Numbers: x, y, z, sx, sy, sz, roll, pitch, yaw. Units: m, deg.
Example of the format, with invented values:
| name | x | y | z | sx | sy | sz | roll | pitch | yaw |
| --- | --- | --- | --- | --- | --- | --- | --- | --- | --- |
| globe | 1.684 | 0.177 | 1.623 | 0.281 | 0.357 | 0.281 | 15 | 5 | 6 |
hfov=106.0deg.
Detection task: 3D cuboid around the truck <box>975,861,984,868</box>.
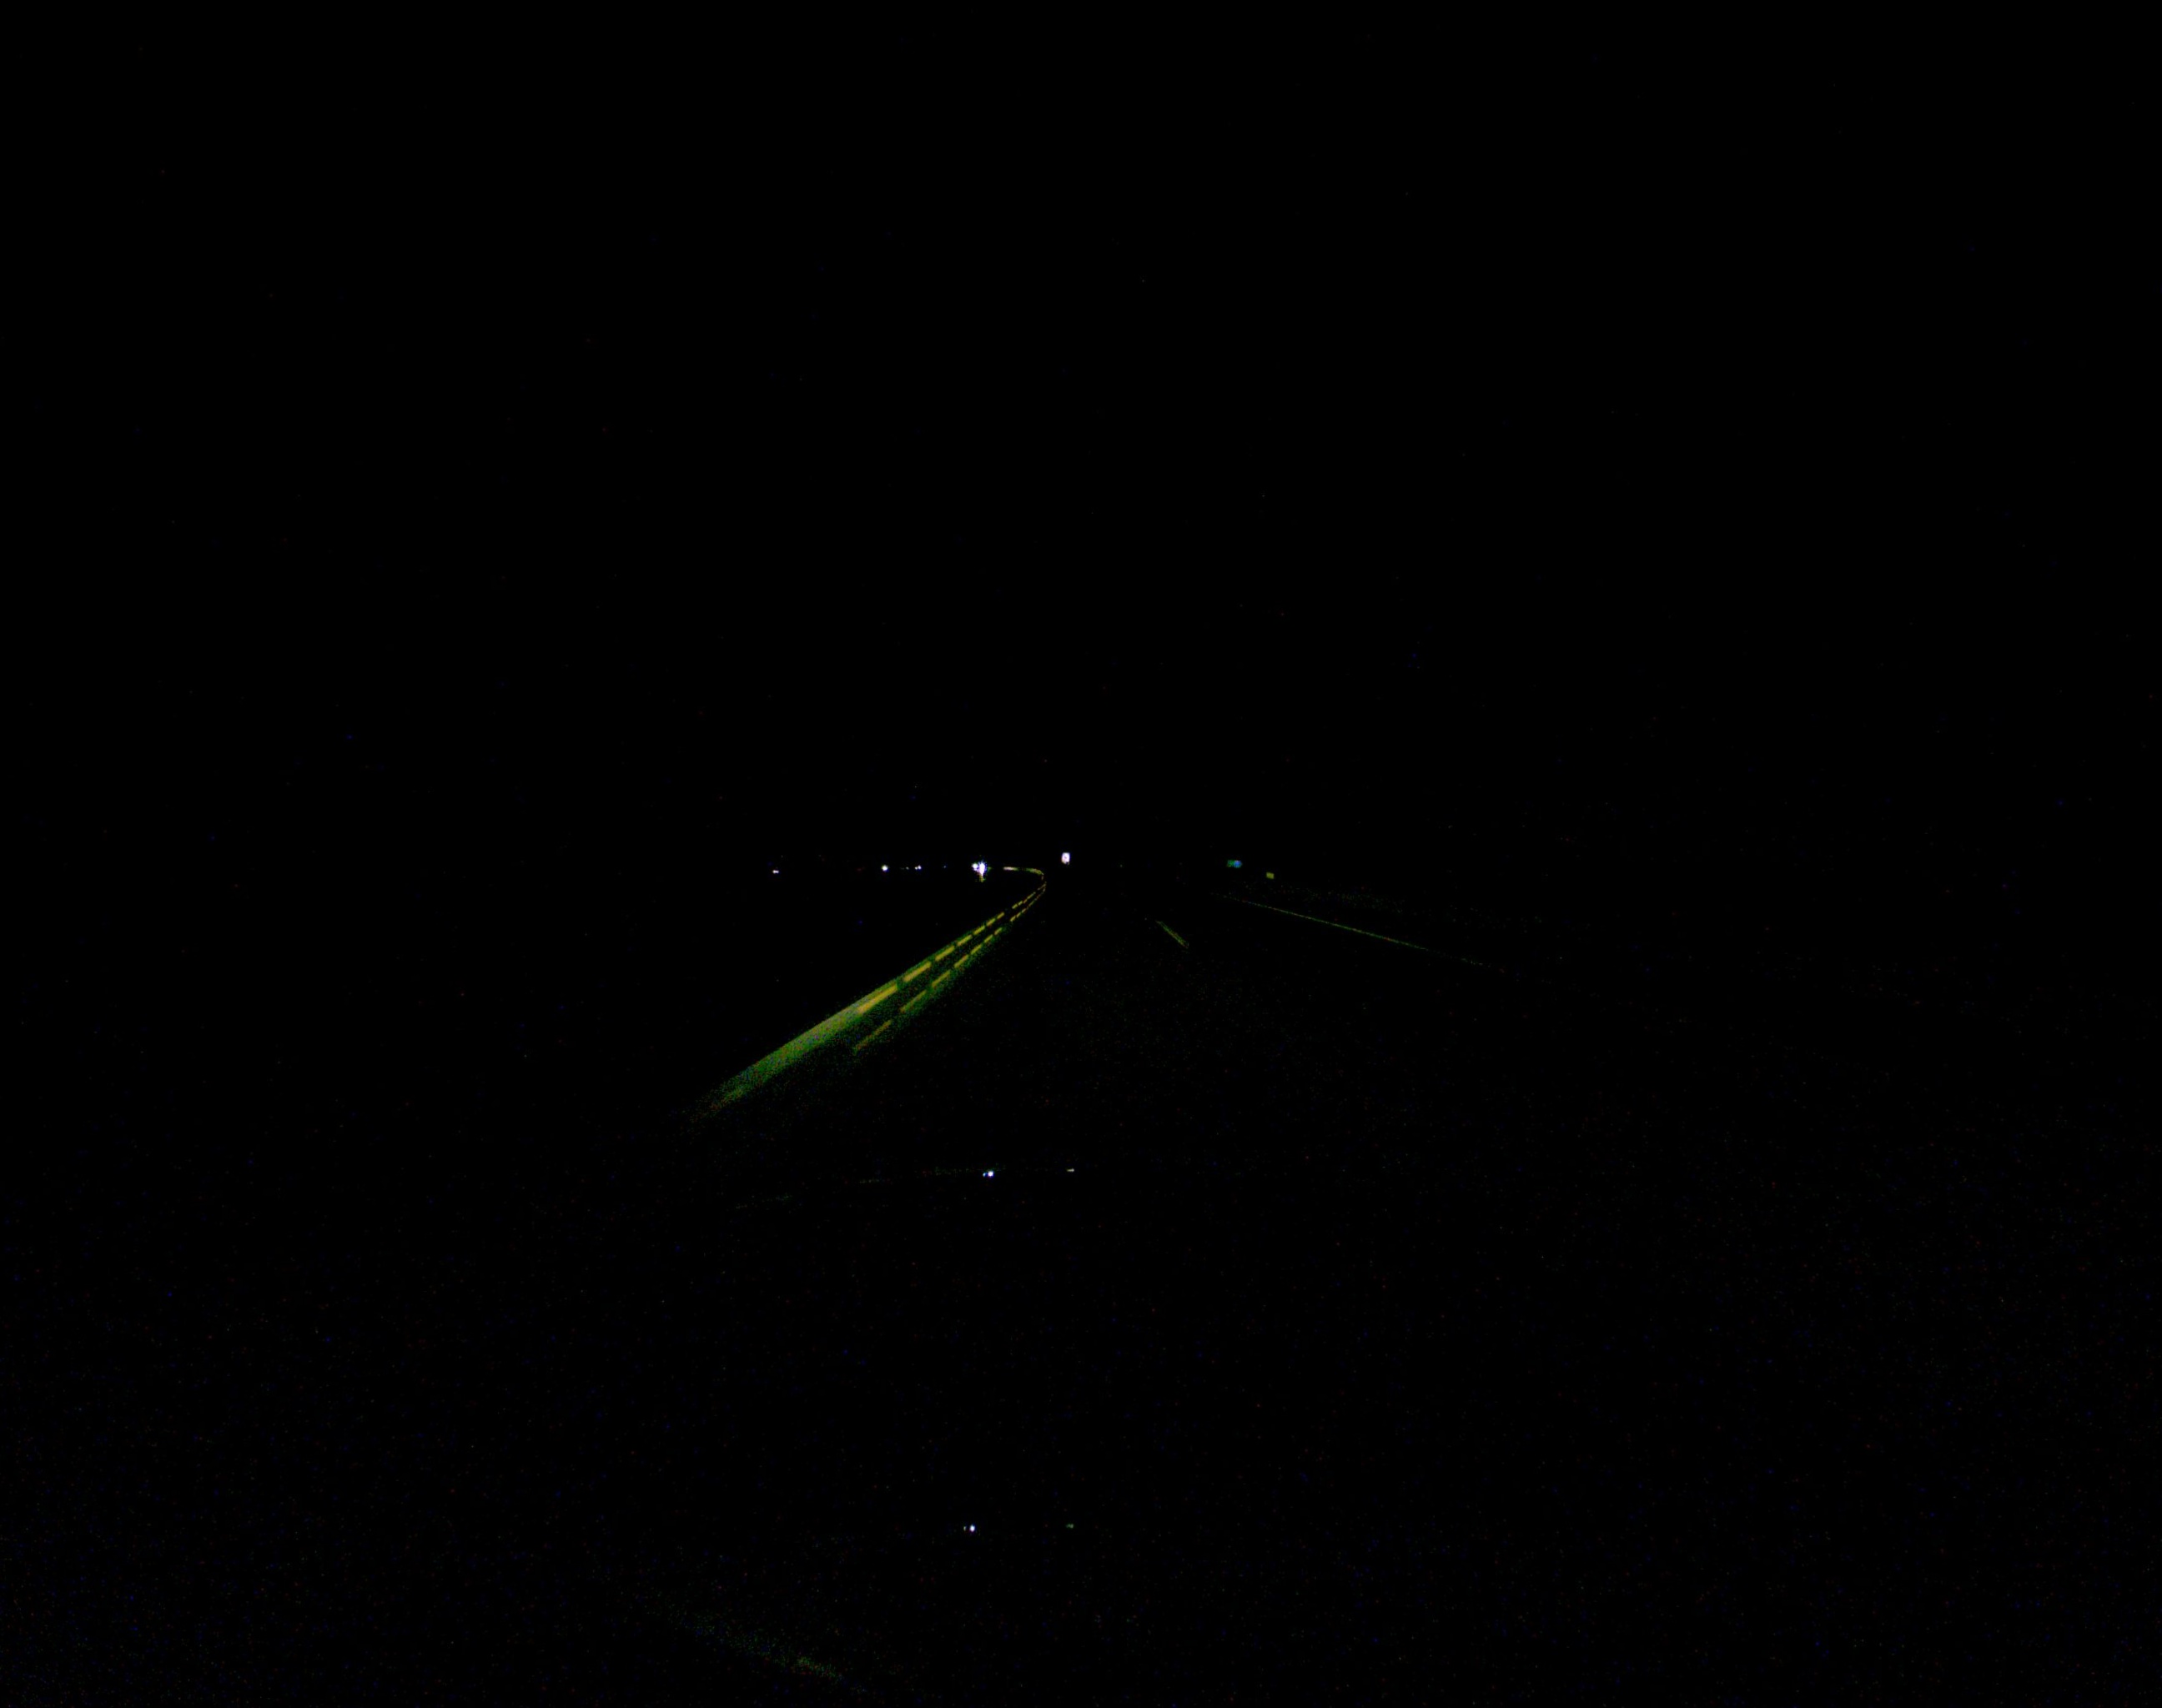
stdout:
| name | x | y | z | sx | sy | sz | roll | pitch | yaw |
| --- | --- | --- | --- | --- | --- | --- | --- | --- | --- |
| truck | -20.625 | 2.090 | 165.689 | 1.682 | 1.470 | 4.140 | 0 | -1 | -9 |
